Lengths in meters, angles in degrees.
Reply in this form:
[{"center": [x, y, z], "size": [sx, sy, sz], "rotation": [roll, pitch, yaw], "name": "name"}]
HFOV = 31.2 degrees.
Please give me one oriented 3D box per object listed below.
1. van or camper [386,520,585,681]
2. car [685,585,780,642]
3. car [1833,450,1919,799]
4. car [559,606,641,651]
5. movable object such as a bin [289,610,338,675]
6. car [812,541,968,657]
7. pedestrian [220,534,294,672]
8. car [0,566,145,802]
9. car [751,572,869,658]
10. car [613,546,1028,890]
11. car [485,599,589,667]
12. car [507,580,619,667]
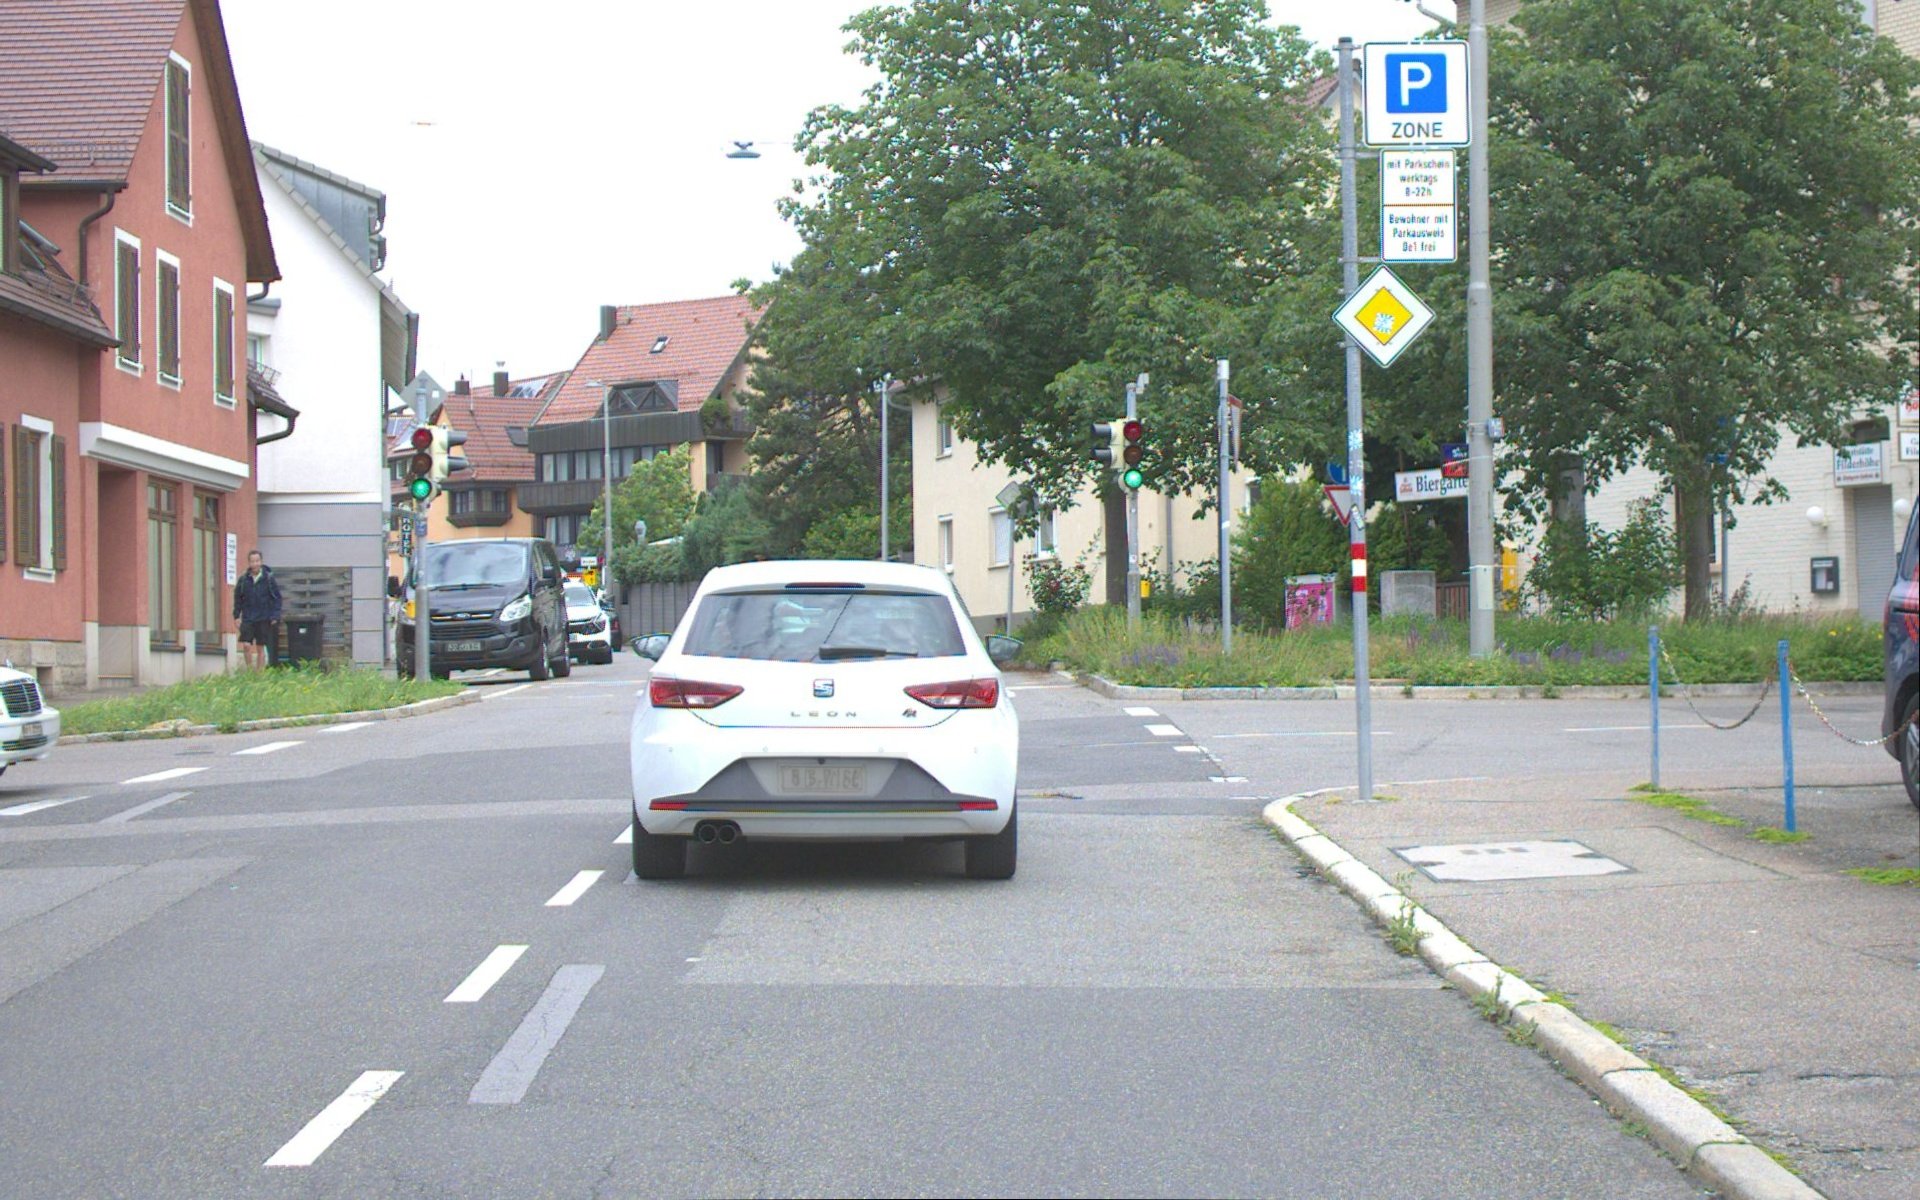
[{"center": [-6.452, 0.066, 47.217], "size": [2.073, 1.999, 4.857], "rotation": [-3, -1, -1], "name": "van or camper"}, {"center": [-6.161, 0.387, 92.784], "size": [1.758, 1.447, 4.001], "rotation": [2, -1, -16], "name": "car"}, {"center": [5.775, 0.108, 15.898], "size": [1.746, 1.733, 4.573], "rotation": [-2, 1, -7], "name": "car"}, {"center": [-11.701, 0.931, 111.559], "size": [1.758, 1.447, 4.001], "rotation": [0, -1, -20], "name": "car"}, {"center": [-10.479, 0.682, 55.726], "size": [0.665, 1.015, 0.795], "rotation": [-1, 0, -4], "name": "movable object such as a bin"}, {"center": [-0.961, 0.009, 44.983], "size": [1.758, 1.447, 4.000], "rotation": [0, -1, -5], "name": "car"}, {"center": [-9.186, 0.035, 44.968], "size": [0.800, 1.778, 0.893], "rotation": [0, 0, -1], "name": "pedestrian"}, {"center": [-7.865, 0.593, 22.383], "size": [4.554, 1.440, 2.000], "rotation": [-2, 1, 3], "name": "car"}, {"center": [-2.659, 0.273, 60.316], "size": [1.758, 1.447, 4.001], "rotation": [0, -1, -7], "name": "car"}, {"center": [-0.567, 0.474, 16.662], "size": [1.758, 1.447, 4.000], "rotation": [0, 1, 1], "name": "car"}, {"center": [-9.252, 0.715, 75.004], "size": [1.997, 1.431, 3.919], "rotation": [0, -1, -11], "name": "car"}, {"center": [-7.731, 0.458, 66.615], "size": [1.997, 1.627, 4.858], "rotation": [0, -1, -8], "name": "car"}]
